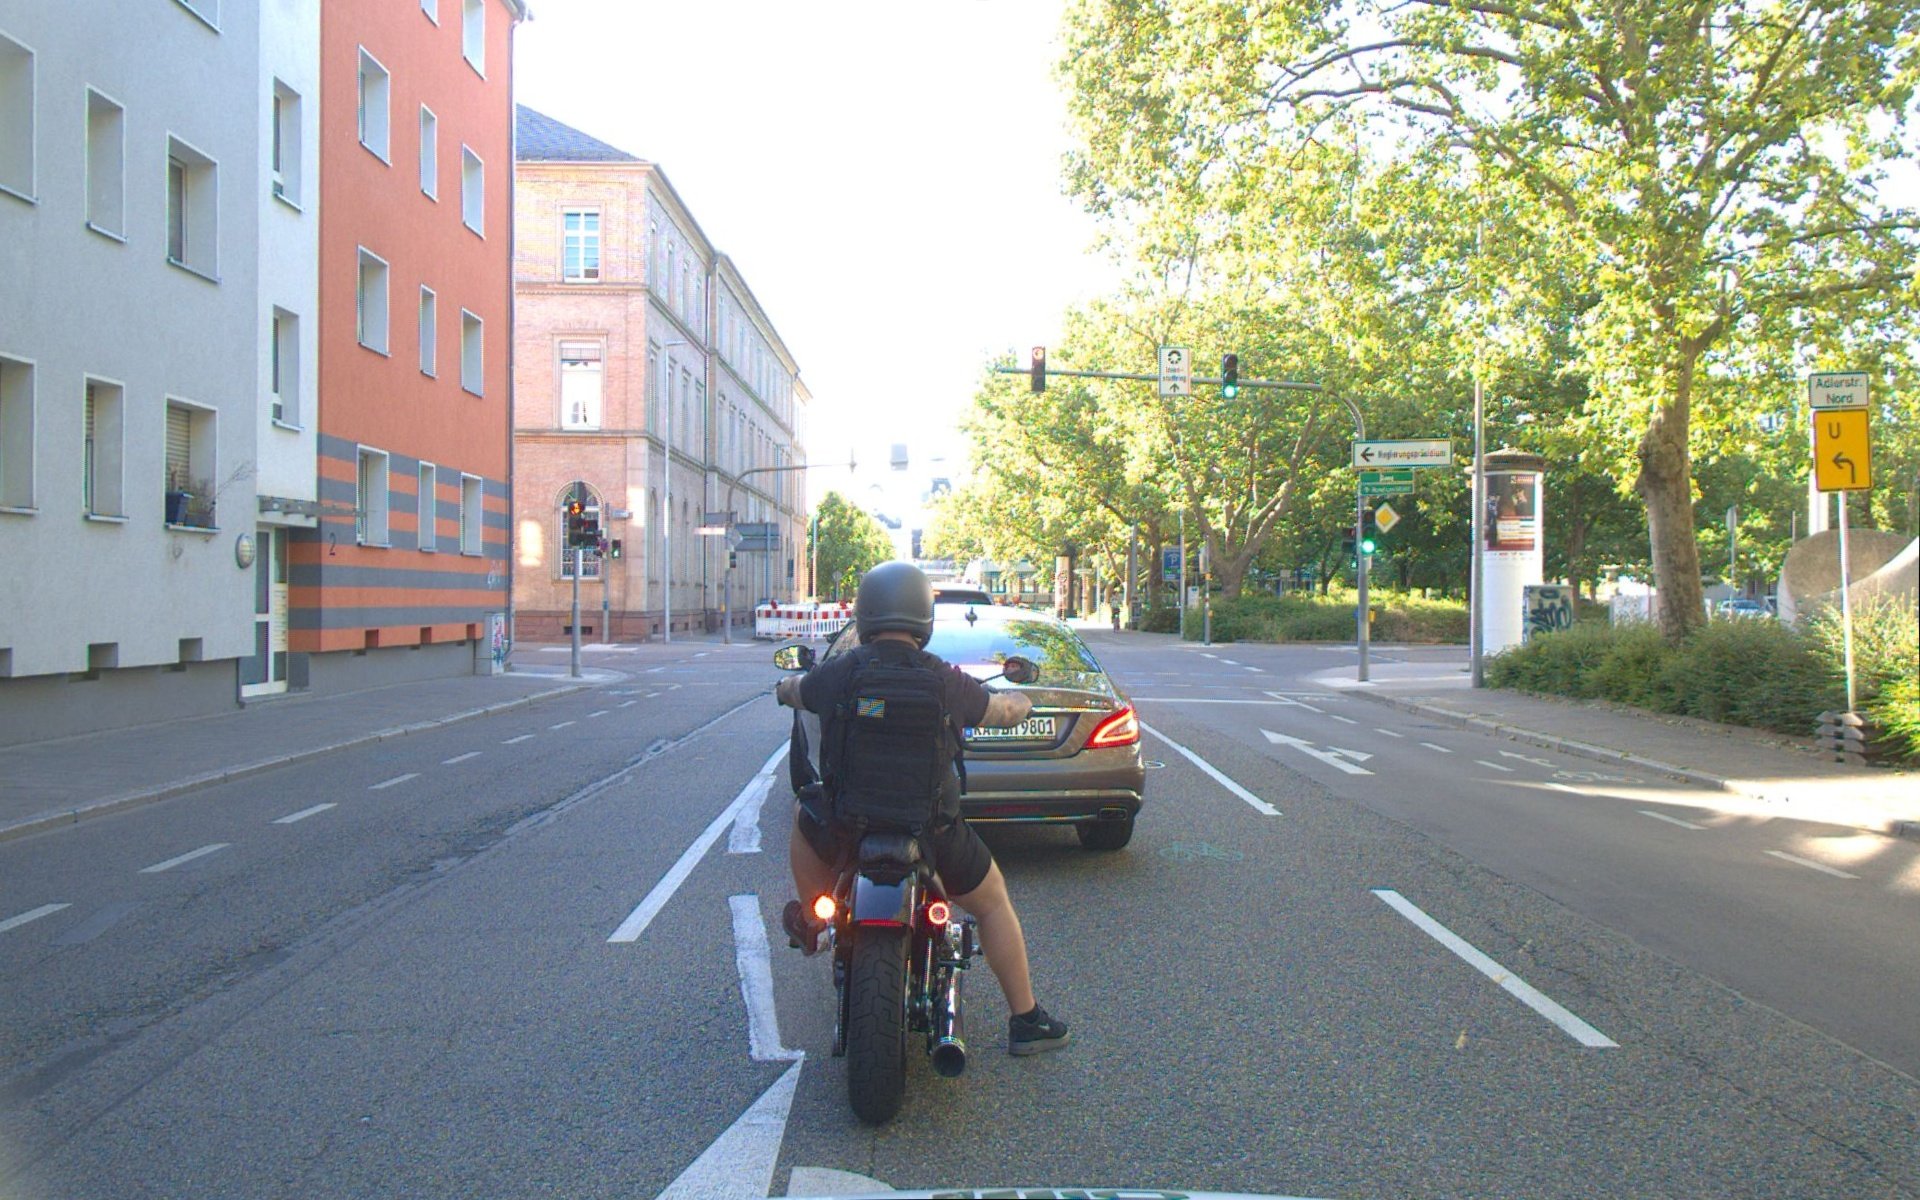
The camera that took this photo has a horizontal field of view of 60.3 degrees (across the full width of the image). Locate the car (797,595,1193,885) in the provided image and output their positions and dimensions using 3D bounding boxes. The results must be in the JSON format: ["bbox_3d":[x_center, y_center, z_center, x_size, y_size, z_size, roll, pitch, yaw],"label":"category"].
[{"bbox_3d":[-0.010,0.706,10.690,1.867,1.466,4.280,0,0,-9],"label":"car"}]

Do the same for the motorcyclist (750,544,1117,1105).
[{"bbox_3d":[-0.081,0.654,5.250,1.039,1.610,0.908,1,0,-1],"label":"motorcyclist"}]

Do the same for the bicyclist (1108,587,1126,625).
[{"bbox_3d":[6.716,0.267,70.858,0.701,1.610,0.936,1,0,1],"label":"bicyclist"}]

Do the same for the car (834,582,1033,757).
[{"bbox_3d":[-0.346,0.613,16.749,1.777,1.563,3.846,0,0,-3],"label":"car"}]

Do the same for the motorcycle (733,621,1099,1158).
[{"bbox_3d":[-0.131,0.778,5.518,0.942,1.380,2.319,1,0,-1],"label":"motorcycle"}]

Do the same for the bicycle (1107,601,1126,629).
[{"bbox_3d":[6.714,0.637,70.888,0.701,1.193,2.177,1,0,3],"label":"bicycle"}]
